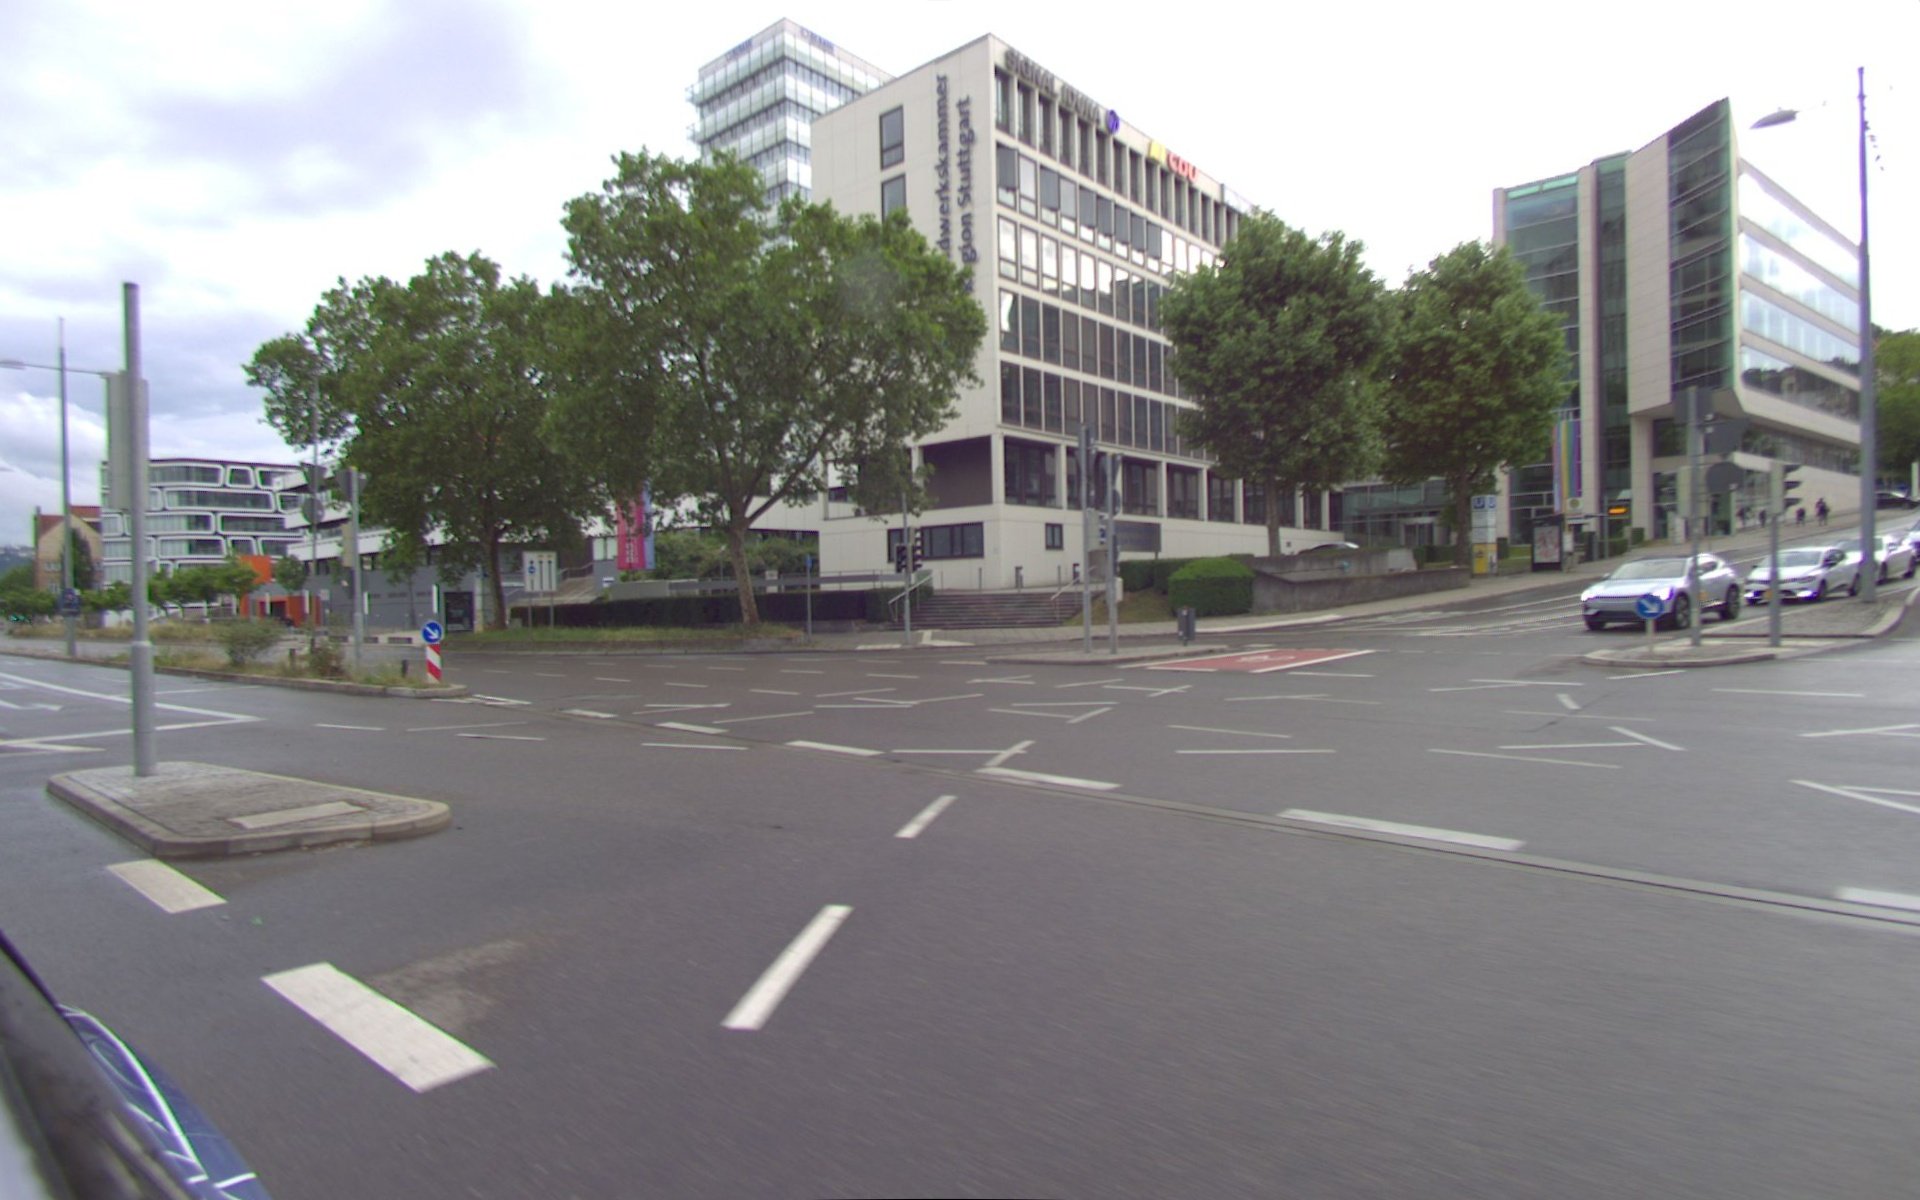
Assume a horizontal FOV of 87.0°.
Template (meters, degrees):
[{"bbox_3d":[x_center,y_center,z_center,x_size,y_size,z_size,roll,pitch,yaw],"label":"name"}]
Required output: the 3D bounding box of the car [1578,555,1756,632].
[{"bbox_3d":[16.614,-0.149,23.732,4.440,1.643,1.900,0,0,-33],"label":"car"}]

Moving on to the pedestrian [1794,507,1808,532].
[{"bbox_3d":[55.388,-5.288,66.662,0.677,1.623,0.597,0,0,-37],"label":"pedestrian"}]

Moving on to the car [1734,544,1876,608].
[{"bbox_3d":[23.214,-0.621,27.784,3.933,1.643,1.900,0,0,-33],"label":"car"}]

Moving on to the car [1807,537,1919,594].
[{"bbox_3d":[28.462,-1.083,31.672,3.933,1.643,1.900,-2,1,-33],"label":"car"}]

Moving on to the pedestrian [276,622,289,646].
[{"bbox_3d":[-53.946,2.697,80.580,0.628,1.821,0.776,-1,0,41],"label":"pedestrian"}]

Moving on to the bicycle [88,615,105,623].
[{"bbox_3d":[-102.338,2.251,119.902,1.638,0.864,0.608,-1,0,8],"label":"bicycle"}]

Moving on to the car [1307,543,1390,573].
[{"bbox_3d":[20.649,-2.211,53.862,3.879,1.420,1.510,-1,0,41],"label":"car"}]

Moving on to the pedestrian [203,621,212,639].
[{"bbox_3d":[-77.110,3.107,103.651,0.628,1.821,0.623,-1,0,42],"label":"pedestrian"}]

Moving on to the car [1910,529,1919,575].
[{"bbox_3d":[36.213,-1.811,36.527,3.933,1.643,1.900,-4,2,-33],"label":"car"}]

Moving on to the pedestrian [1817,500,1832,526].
[{"bbox_3d":[56.228,-5.678,65.826,0.677,1.623,0.597,0,0,-37],"label":"pedestrian"}]
